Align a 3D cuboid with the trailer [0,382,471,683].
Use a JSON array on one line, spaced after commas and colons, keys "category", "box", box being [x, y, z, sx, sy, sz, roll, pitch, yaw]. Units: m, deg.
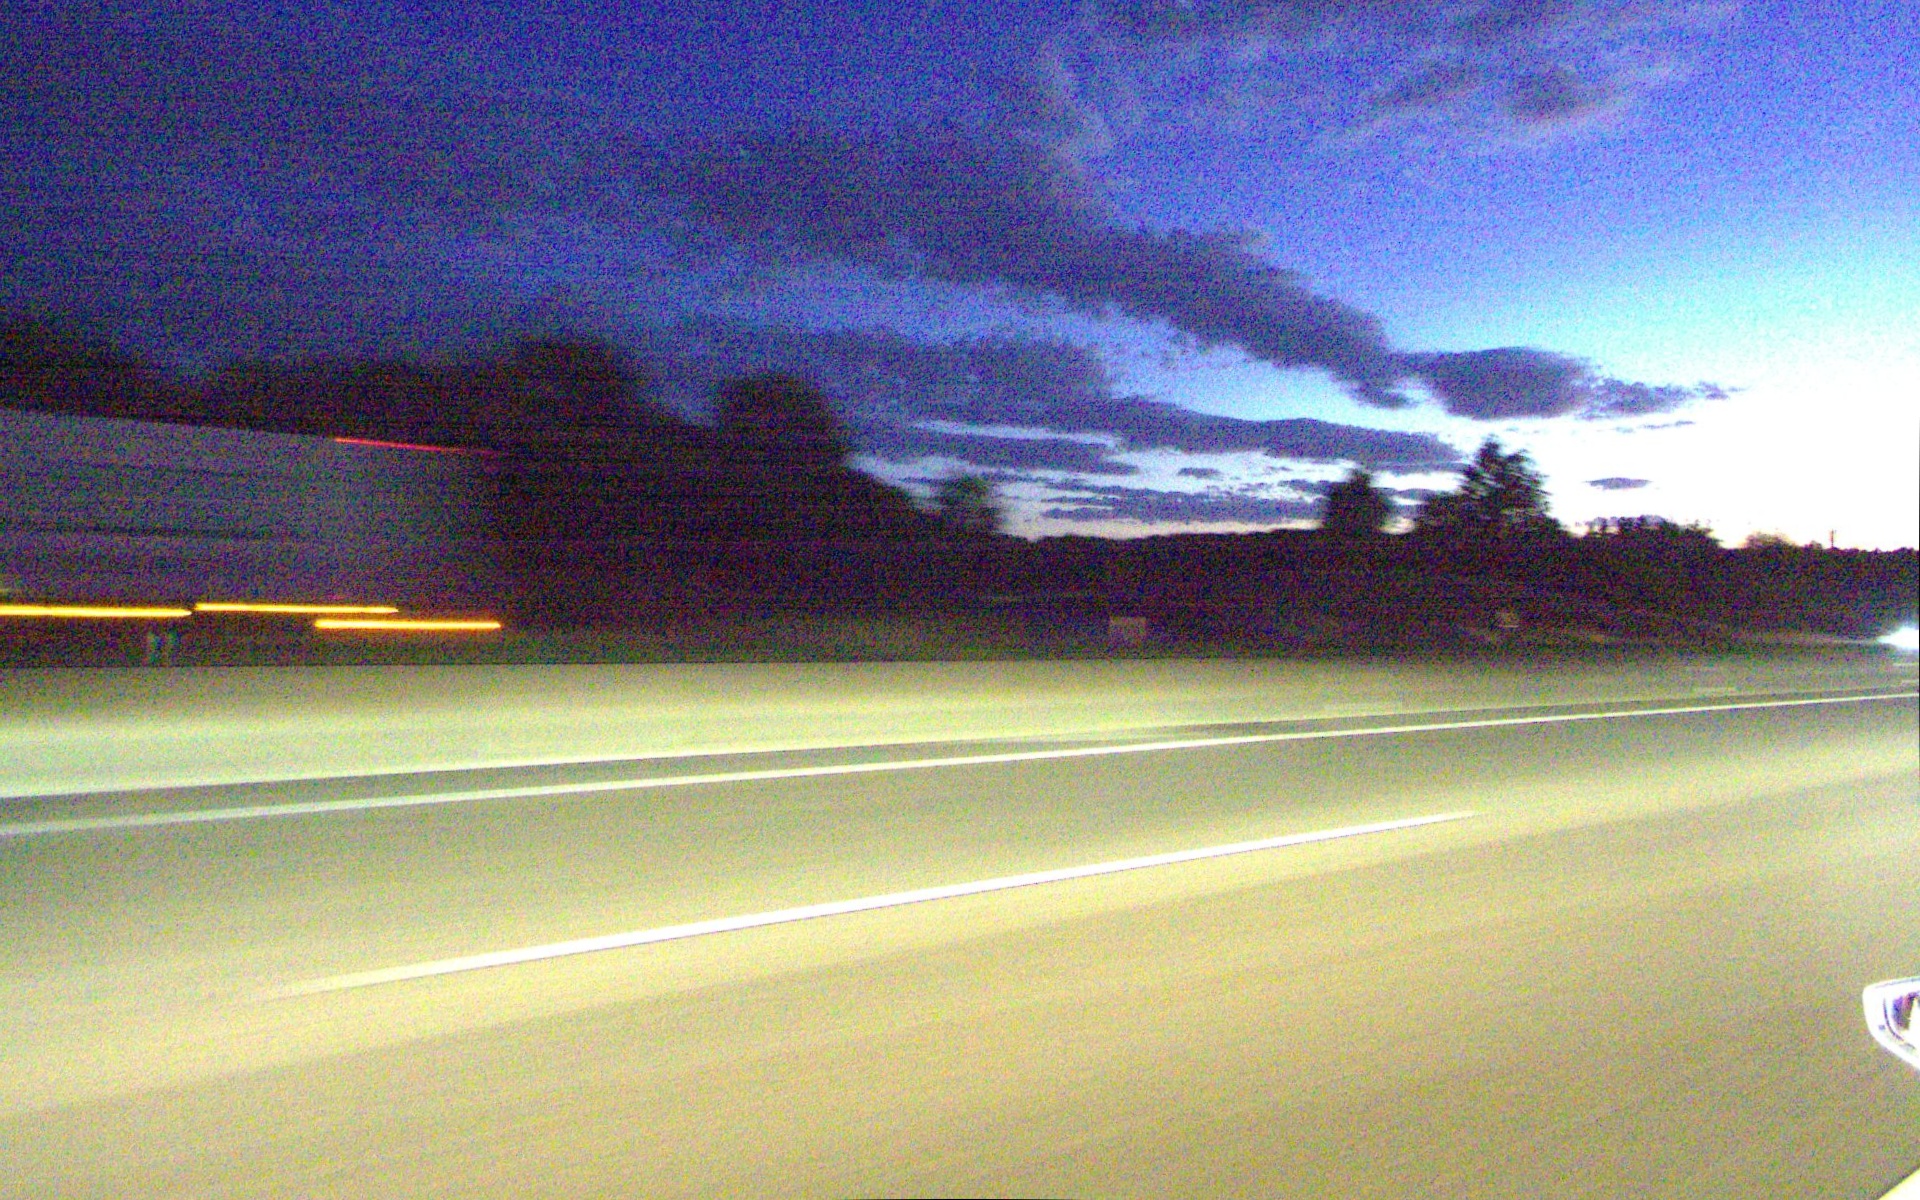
[{"category": "trailer", "box": [-15.710, -1.034, 16.160, 13.860, 4.492, 3.309, 1, 0, -31]}]
